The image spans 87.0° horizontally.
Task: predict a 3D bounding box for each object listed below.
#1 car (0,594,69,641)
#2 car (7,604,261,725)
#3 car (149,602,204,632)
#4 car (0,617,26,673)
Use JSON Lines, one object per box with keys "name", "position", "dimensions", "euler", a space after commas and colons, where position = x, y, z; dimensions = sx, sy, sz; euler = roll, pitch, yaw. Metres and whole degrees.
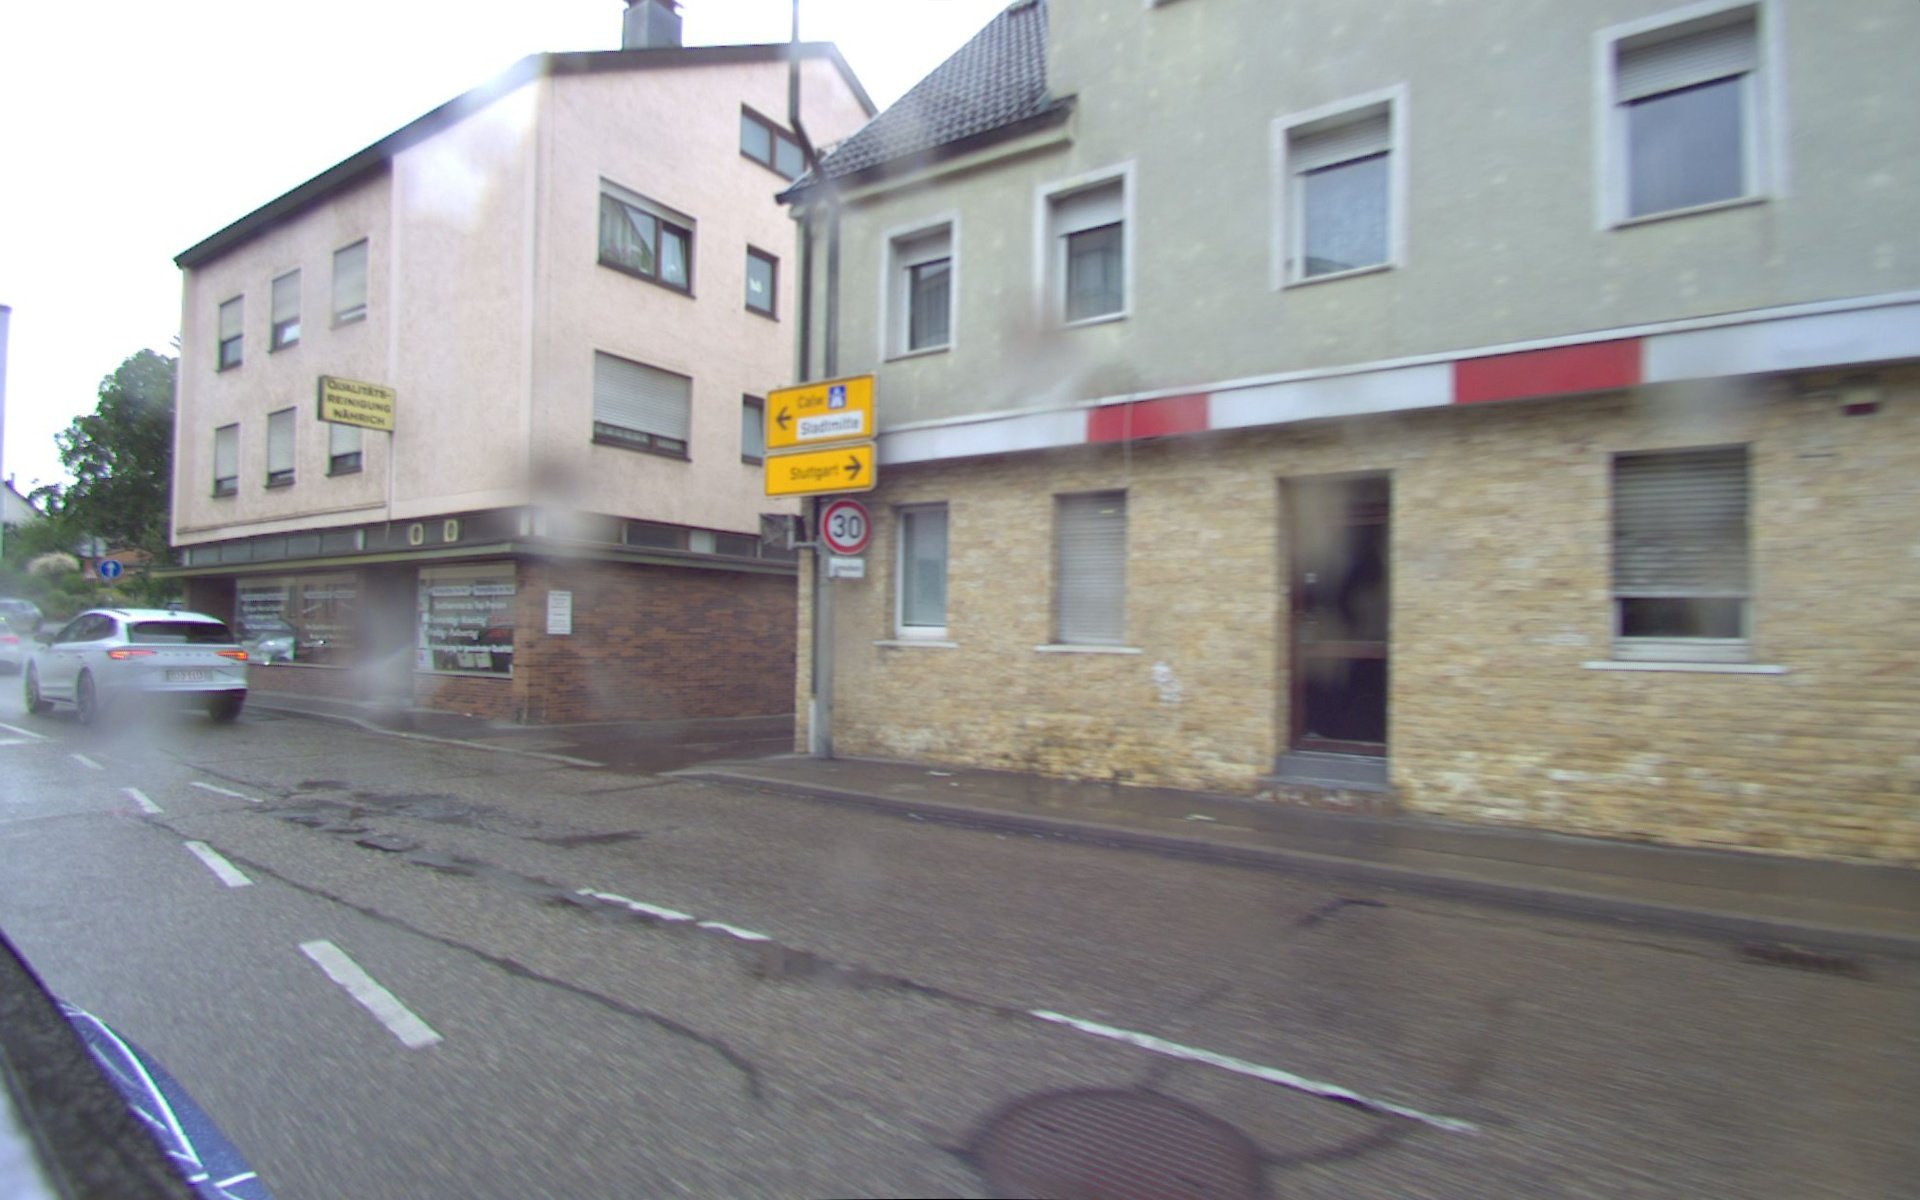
{"name": "car", "position": [-42.051, 0.779, 44.615], "dimensions": [1.870, 1.672, 4.956], "euler": [2, -7, -12]}
{"name": "car", "position": [-12.398, 0.927, 15.123], "dimensions": [4.326, 1.572, 1.769], "euler": [-2, -4, 35]}
{"name": "car", "position": [-40.980, 0.893, 53.005], "dimensions": [1.746, 1.412, 3.931], "euler": [4, -3, -31]}
{"name": "car", "position": [-25.609, 1.151, 26.101], "dimensions": [4.110, 1.383, 1.673], "euler": [-2, -5, 40]}
